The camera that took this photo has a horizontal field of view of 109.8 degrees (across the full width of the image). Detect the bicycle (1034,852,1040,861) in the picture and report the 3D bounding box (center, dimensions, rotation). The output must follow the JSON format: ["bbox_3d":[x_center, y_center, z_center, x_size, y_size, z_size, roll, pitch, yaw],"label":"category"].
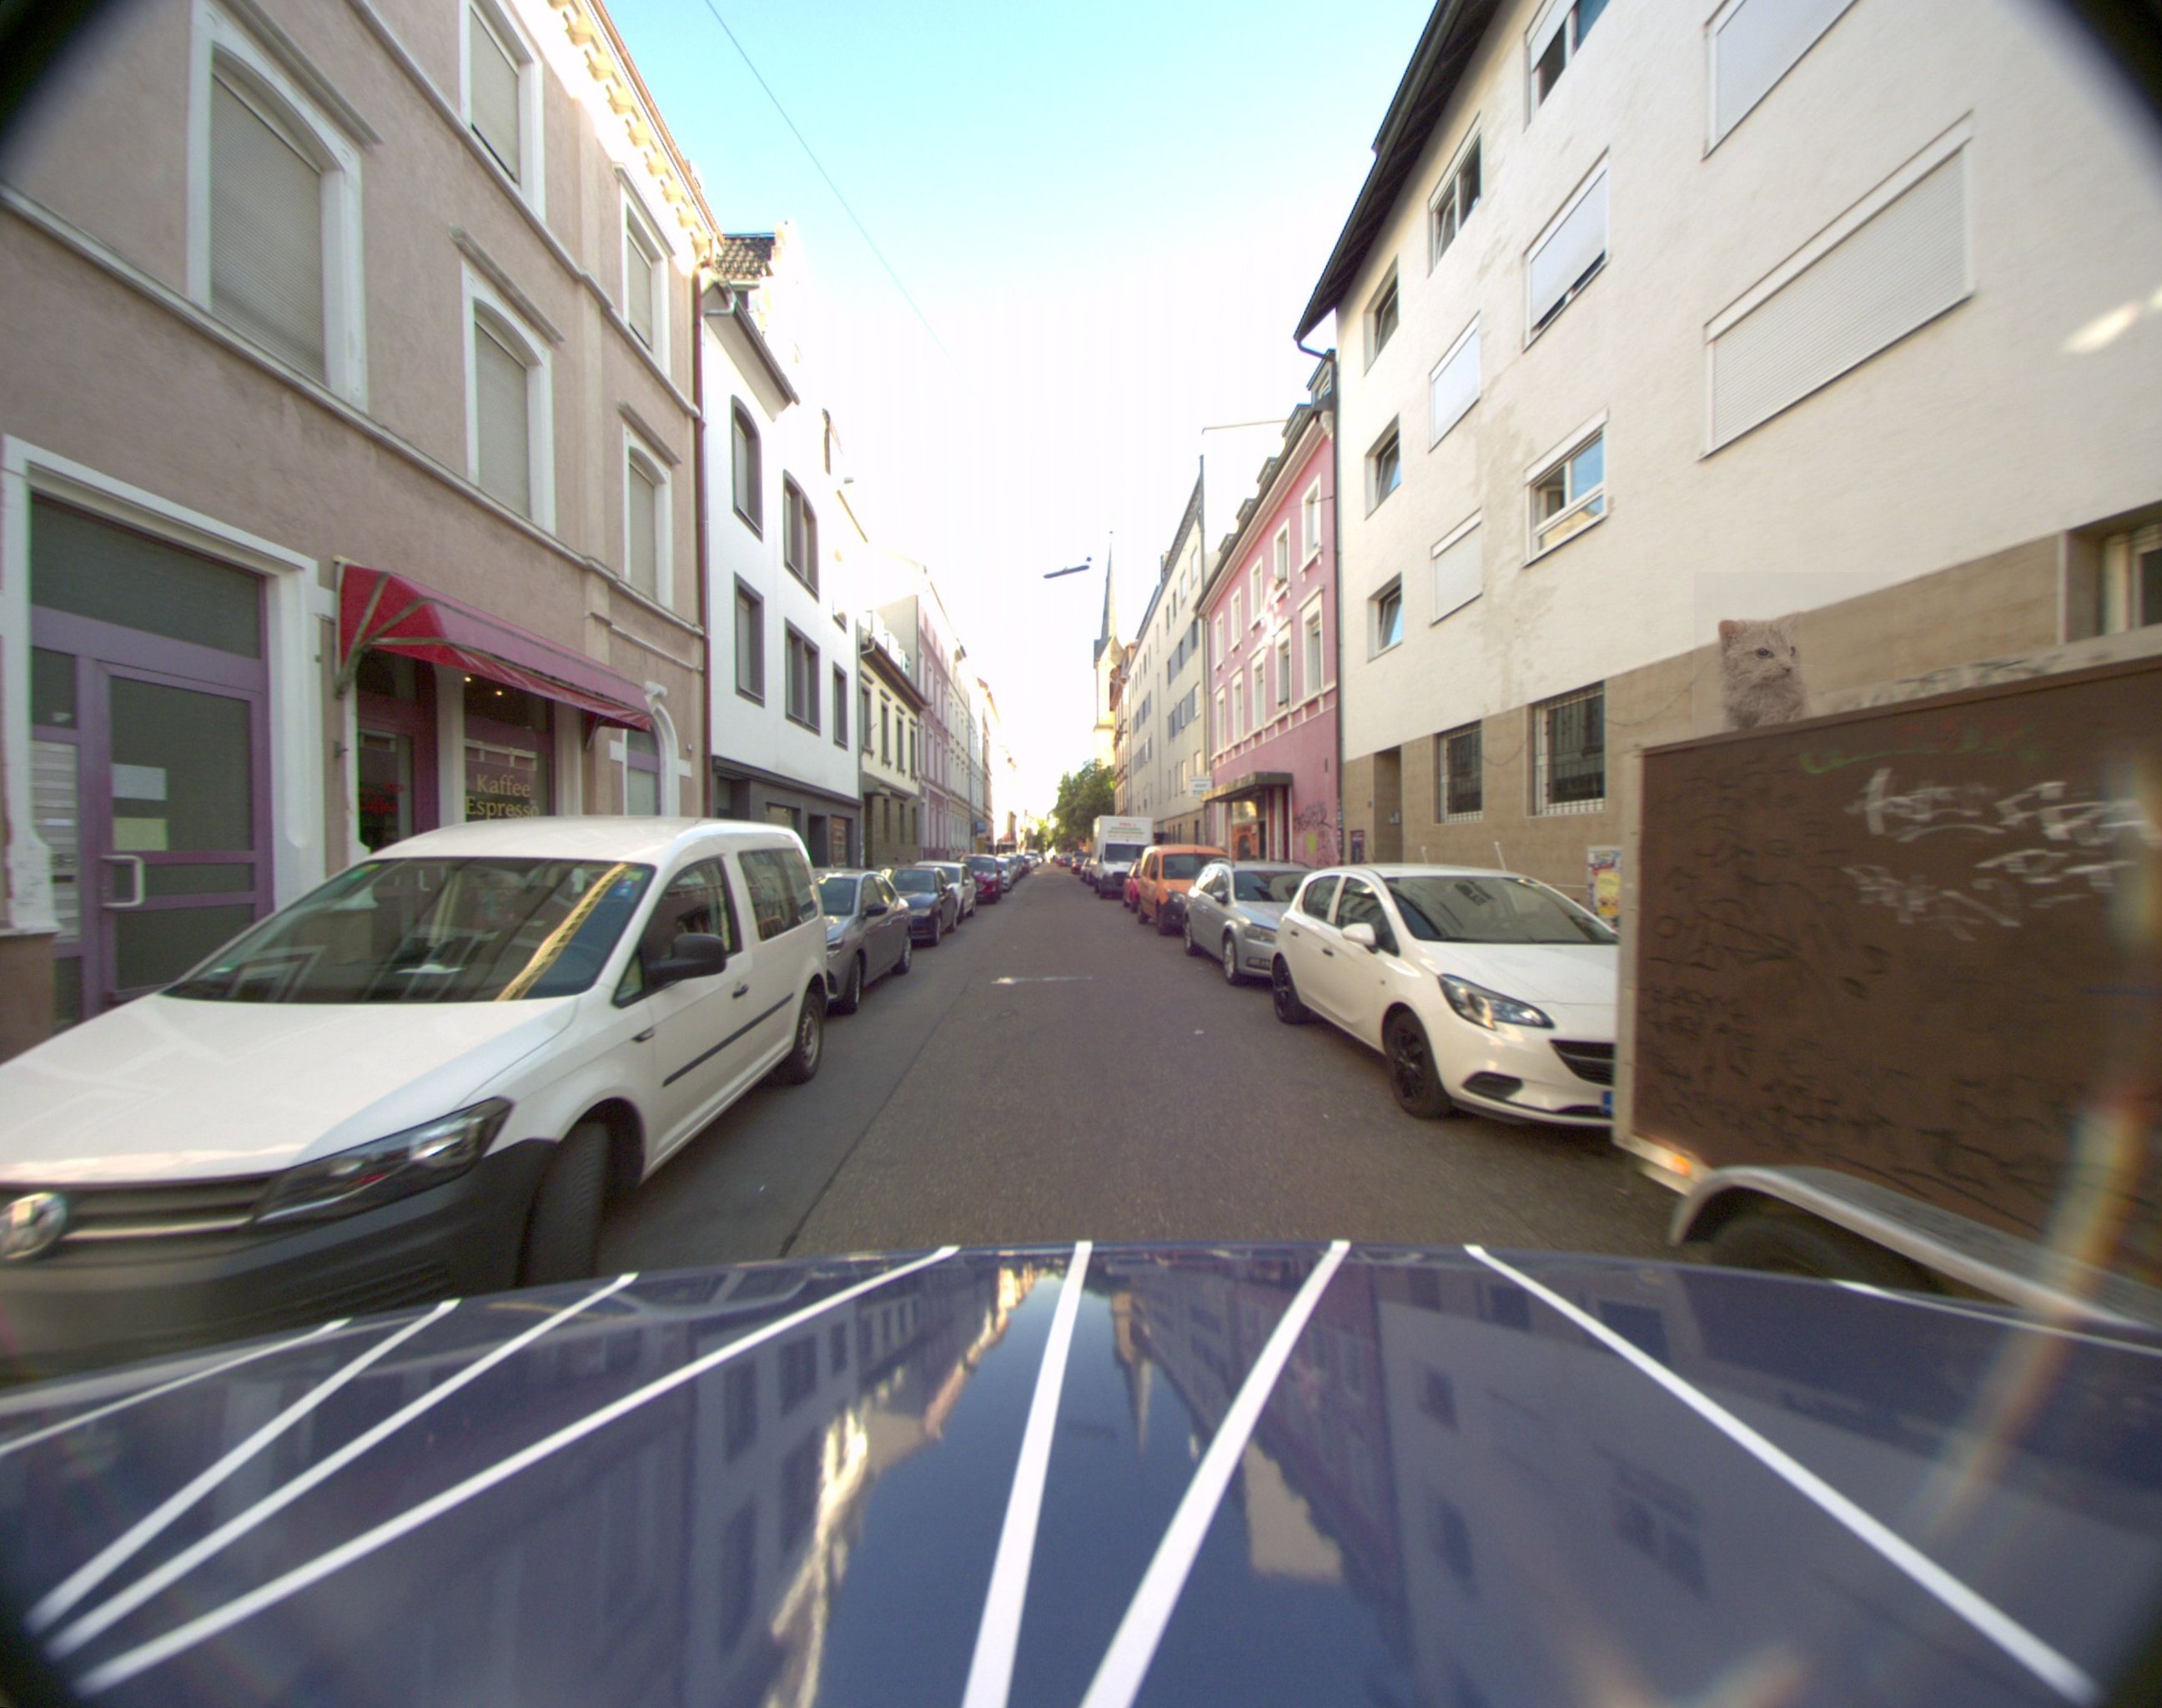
[{"bbox_3d":[-6.240,0.334,107.868,0.729,1.173,2.487,-2,1,-5],"label":"bicycle"}]

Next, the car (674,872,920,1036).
[{"bbox_3d":[-3.059,0.984,9.025,1.613,1.400,3.880,1,1,-3],"label":"car"}]

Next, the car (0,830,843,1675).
[{"bbox_3d":[-2.660,0.825,3.773,1.753,1.806,4.368,1,1,-3],"label":"car"}]

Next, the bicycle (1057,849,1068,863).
[{"bbox_3d":[-2.369,0.246,98.170,1.020,1.641,3.545,-2,1,-7],"label":"bicycle"}]

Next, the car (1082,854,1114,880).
[{"bbox_3d":[0.994,0.768,46.560,1.687,1.482,3.913,2,0,-3],"label":"car"}]

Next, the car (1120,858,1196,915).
[{"bbox_3d":[2.161,0.873,22.184,1.687,1.458,3.658,0,1,-3],"label":"car"}]

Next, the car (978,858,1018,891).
[{"bbox_3d":[-3.851,0.898,35.591,1.613,1.388,3.880,1,1,-3],"label":"car"}]

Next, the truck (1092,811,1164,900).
[{"bbox_3d":[1.731,0.017,30.426,2.297,3.165,7.042,0,1,-1],"label":"truck"}]

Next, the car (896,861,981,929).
[{"bbox_3d":[-3.562,0.979,19.574,1.620,1.495,3.771,1,1,-3],"label":"car"}]

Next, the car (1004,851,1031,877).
[{"bbox_3d":[-4.480,0.659,53.746,1.714,1.721,4.219,1,1,-3],"label":"car"}]

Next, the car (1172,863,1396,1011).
[{"bbox_3d":[2.466,0.929,10.466,1.678,1.488,4.529,1,1,-3],"label":"car"}]

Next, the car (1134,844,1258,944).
[{"bbox_3d":[2.261,0.713,16.113,1.807,1.834,4.242,0,1,-3],"label":"car"}]

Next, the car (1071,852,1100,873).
[{"bbox_3d":[0.320,0.657,62.702,1.927,1.522,4.561,-2,1,-6],"label":"car"}]

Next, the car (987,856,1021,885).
[{"bbox_3d":[-4.174,0.843,41.562,1.613,1.444,3.880,1,1,-3],"label":"car"}]

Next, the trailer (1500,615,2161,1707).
[{"bbox_3d":[2.644,0.646,0.812,1.666,2.049,4.361,1,1,-5],"label":"trailer"}]

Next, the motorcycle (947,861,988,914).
[{"bbox_3d":[-3.453,0.997,23.344,0.990,1.481,2.267,1,1,-3],"label":"motorcycle"}]

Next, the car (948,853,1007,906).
[{"bbox_3d":[-3.673,0.841,27.509,1.714,1.721,4.406,1,1,-3],"label":"car"}]

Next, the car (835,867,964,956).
[{"bbox_3d":[-3.366,1.008,14.772,1.736,1.388,3.880,1,1,-3],"label":"car"}]

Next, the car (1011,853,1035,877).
[{"bbox_3d":[-5.209,0.935,67.838,1.999,2.002,4.561,-2,1,-5],"label":"car"}]

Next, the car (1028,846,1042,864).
[{"bbox_3d":[-7.585,0.174,124.025,1.999,2.777,4.561,-2,1,-6],"label":"car"}]

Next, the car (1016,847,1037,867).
[{"bbox_3d":[-5.794,0.287,80.531,1.999,2.002,4.561,-2,1,-6],"label":"car"}]

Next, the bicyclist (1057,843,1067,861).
[{"bbox_3d":[-2.423,-0.313,98.185,1.020,2.280,1.531,-2,1,-7],"label":"bicyclist"}]

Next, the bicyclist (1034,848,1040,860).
[{"bbox_3d":[-6.251,-0.016,107.850,0.716,1.650,0.876,-2,1,-5],"label":"bicyclist"}]

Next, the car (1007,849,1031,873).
[{"bbox_3d":[-4.809,0.524,59.072,1.714,1.802,4.219,1,1,-3],"label":"car"}]

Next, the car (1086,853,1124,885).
[{"bbox_3d":[1.238,0.769,40.712,1.687,1.579,3.913,2,1,-3],"label":"car"}]

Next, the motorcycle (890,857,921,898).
[{"bbox_3d":[-6.304,0.830,27.428,0.667,1.388,2.037,-2,1,-3],"label":"motorcycle"}]

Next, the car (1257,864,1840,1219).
[{"bbox_3d":[2.629,0.904,5.447,1.681,1.546,3.816,1,1,-3],"label":"car"}]

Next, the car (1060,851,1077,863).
[{"bbox_3d":[-1.800,0.441,107.998,1.927,1.522,4.561,-2,1,-6],"label":"car"}]

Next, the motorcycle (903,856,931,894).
[{"bbox_3d":[-6.379,0.804,29.653,0.697,1.388,2.037,-2,1,-3],"label":"motorcycle"}]

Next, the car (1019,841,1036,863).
[{"bbox_3d":[-6.910,-0.279,97.978,1.999,2.777,4.561,-2,1,-6],"label":"car"}]

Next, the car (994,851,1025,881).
[{"bbox_3d":[-4.378,0.677,47.017,1.714,1.721,4.219,1,1,-3],"label":"car"}]

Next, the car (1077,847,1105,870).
[{"bbox_3d":[0.836,0.356,69.288,1.999,2.002,4.561,-2,1,-6],"label":"car"}]
